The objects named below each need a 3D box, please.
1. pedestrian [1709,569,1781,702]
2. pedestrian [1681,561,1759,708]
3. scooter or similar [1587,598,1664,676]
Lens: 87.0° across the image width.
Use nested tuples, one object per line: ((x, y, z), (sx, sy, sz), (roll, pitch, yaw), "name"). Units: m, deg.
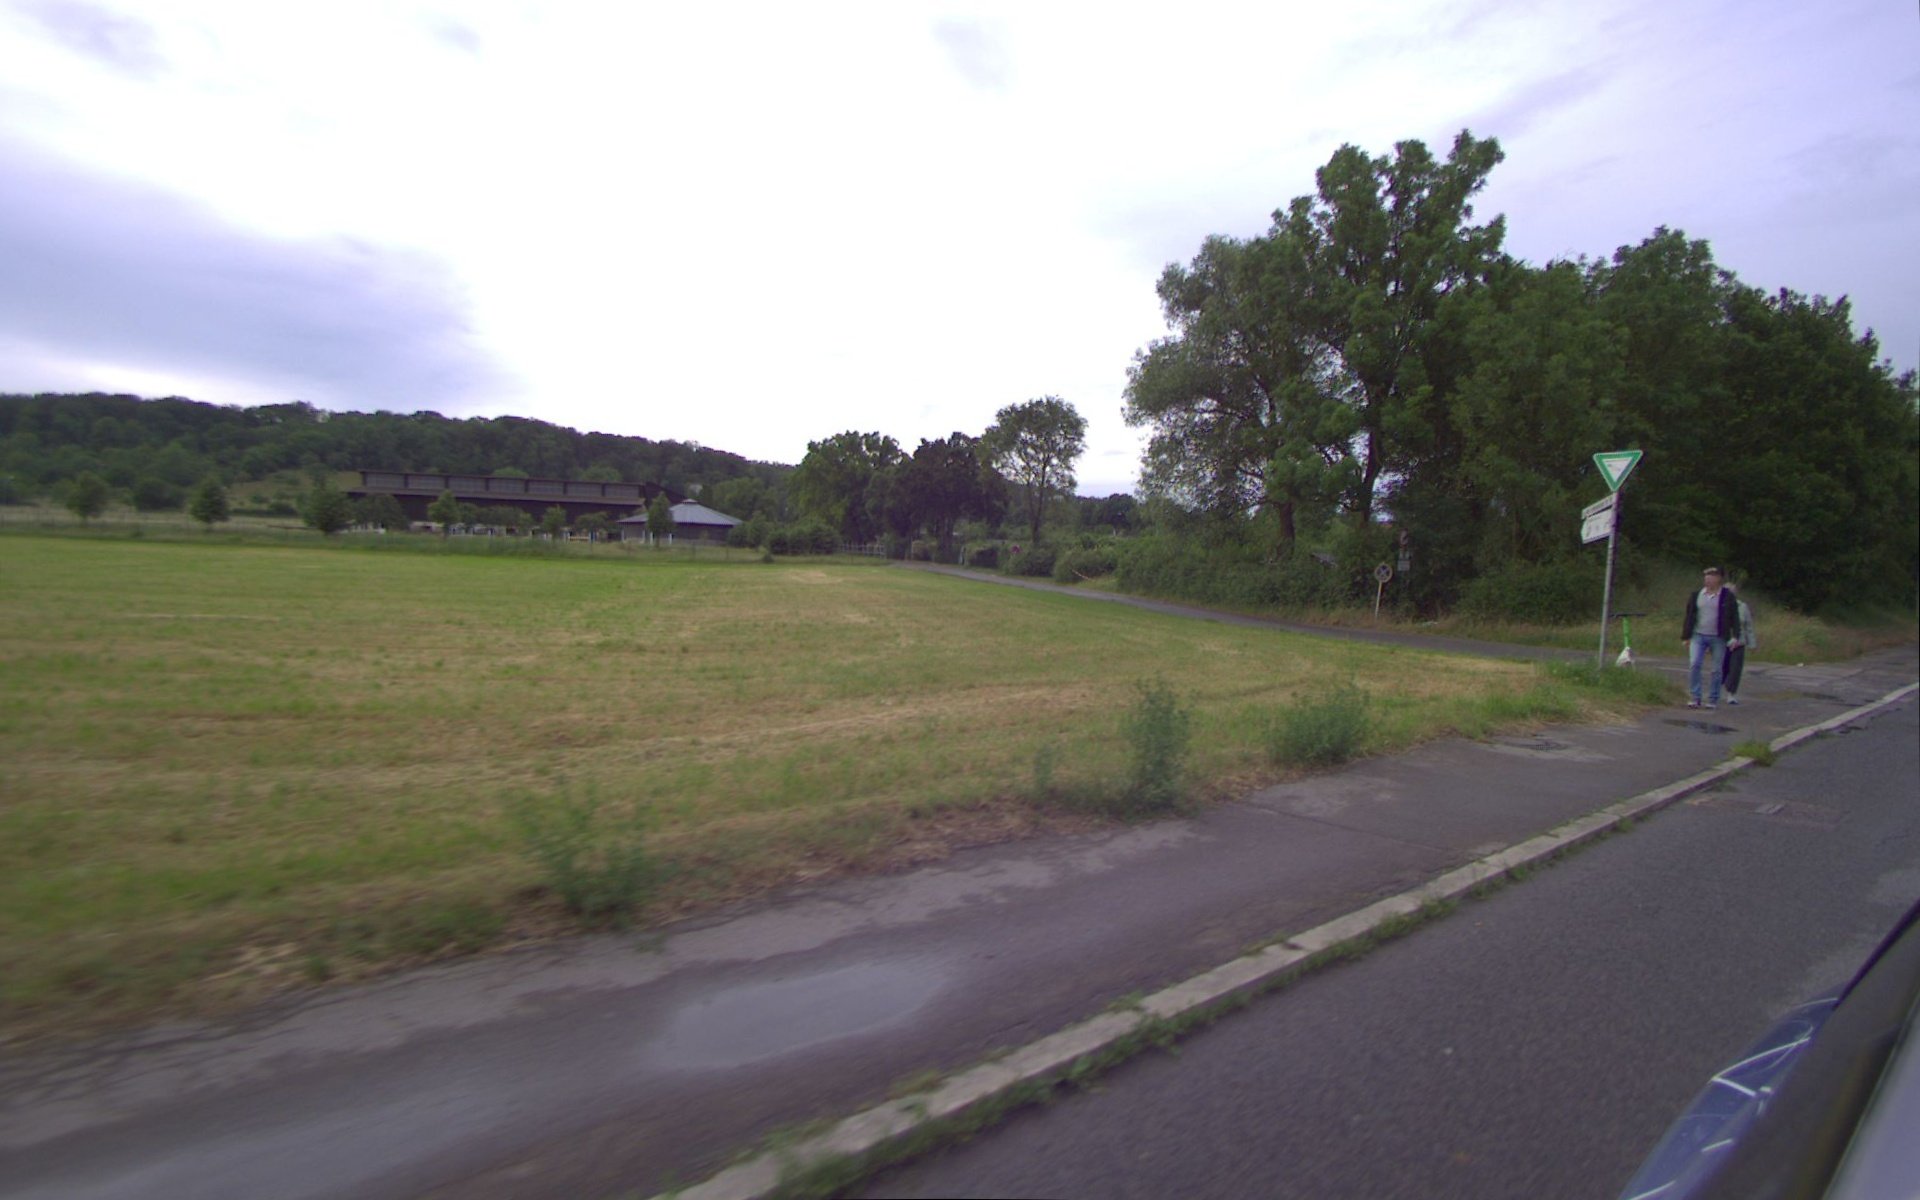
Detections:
((11.075, 0.474, 14.294), (0.658, 1.800, 0.751), (3, 2, 32), "pedestrian")
((10.031, 0.422, 13.383), (0.690, 1.850, 0.792), (3, 2, 32), "pedestrian")
((11.271, 0.596, 17.179), (0.367, 1.221, 1.328), (1, 2, 0), "scooter or similar")
